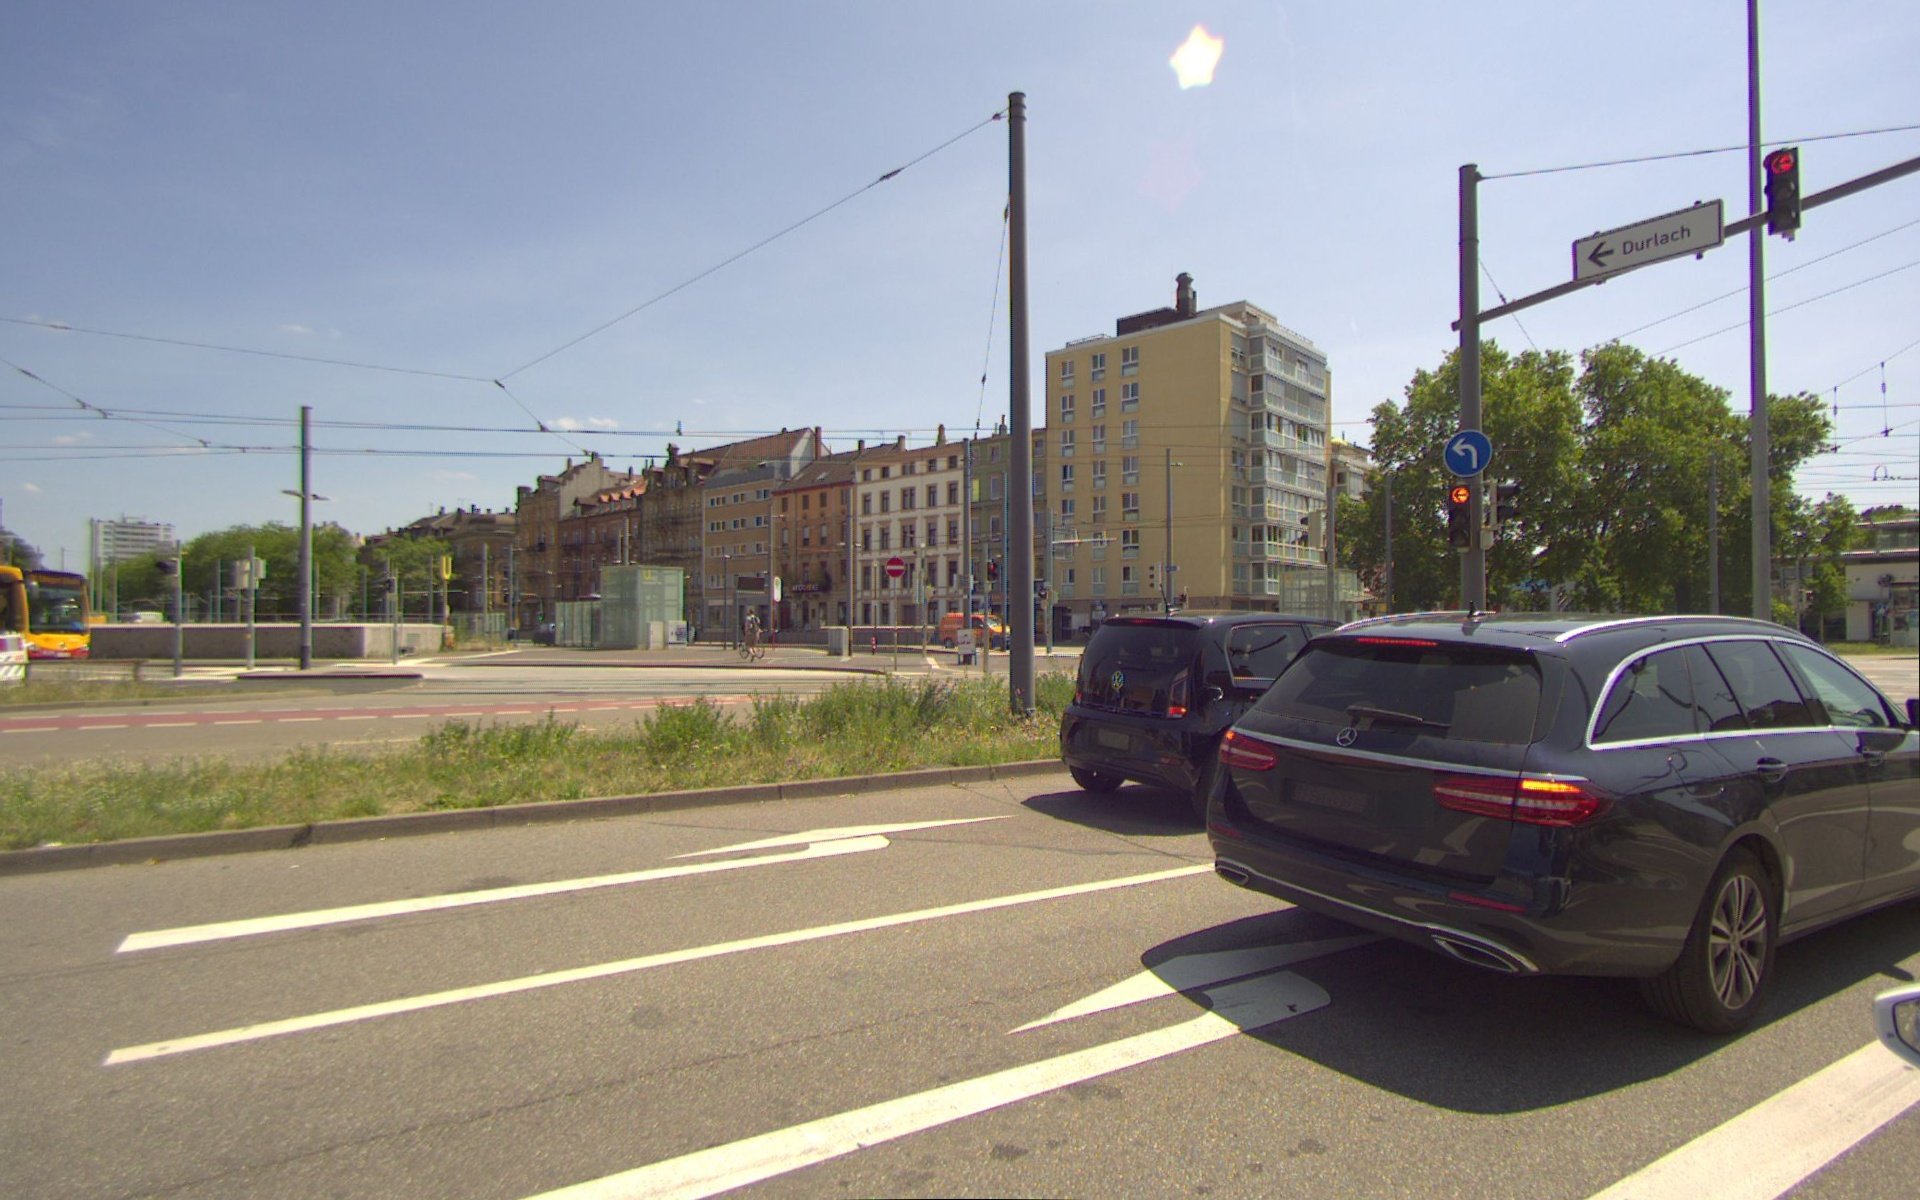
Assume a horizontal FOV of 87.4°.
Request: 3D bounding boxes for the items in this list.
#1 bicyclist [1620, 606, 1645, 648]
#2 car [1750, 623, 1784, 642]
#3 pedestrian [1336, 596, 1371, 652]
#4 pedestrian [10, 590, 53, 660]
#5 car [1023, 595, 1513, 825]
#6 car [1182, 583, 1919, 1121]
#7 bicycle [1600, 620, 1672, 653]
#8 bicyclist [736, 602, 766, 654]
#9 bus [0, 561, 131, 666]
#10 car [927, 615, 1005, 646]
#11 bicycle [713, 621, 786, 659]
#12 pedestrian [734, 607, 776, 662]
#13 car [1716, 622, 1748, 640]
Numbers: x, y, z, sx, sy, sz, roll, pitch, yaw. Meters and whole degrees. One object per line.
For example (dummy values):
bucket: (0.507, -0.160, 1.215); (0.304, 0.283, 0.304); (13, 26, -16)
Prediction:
bicyclist: (31.906, 1.272, 47.658); (0.652, 1.964, 0.759); (-2, 1, -32)
car: (70.632, 2.838, 87.873); (3.388, 1.437, 1.499); (-1, 1, -36)
pedestrian: (21.390, 1.286, 54.642); (1.322, 2.977, 1.206); (-2, 1, -34)
pedestrian: (-27.553, 0.735, 29.826); (0.651, 2.022, 0.611); (-1, 1, 0)
car: (2.593, 0.752, 8.189); (3.954, 1.482, 1.613); (1, -1, -31)
car: (3.345, 0.792, 4.877); (4.534, 1.577, 1.708); (1, -1, -31)
bicycle: (31.958, 1.695, 47.552); (0.626, 1.483, 2.810); (-2, 0, -32)
bicyclist: (-8.349, 1.111, 40.107); (0.784, 2.040, 0.859); (-1, 1, 38)
bus: (-33.281, 0.418, 30.849); (12.019, 3.081, 3.737); (0, -1, -4)
car: (0.285, 1.664, 56.727); (1.665, 1.635, 4.576); (-2, 1, -45)
bicycle: (-8.452, 1.571, 40.158); (3.412, 1.466, 0.874); (-1, 1, 39)
pedestrian: (-7.478, 1.265, 36.705); (1.161, 1.959, 0.901); (-1, 1, 29)
car: (69.610, 2.783, 90.570); (3.405, 1.528, 1.415); (-1, 1, -36)
